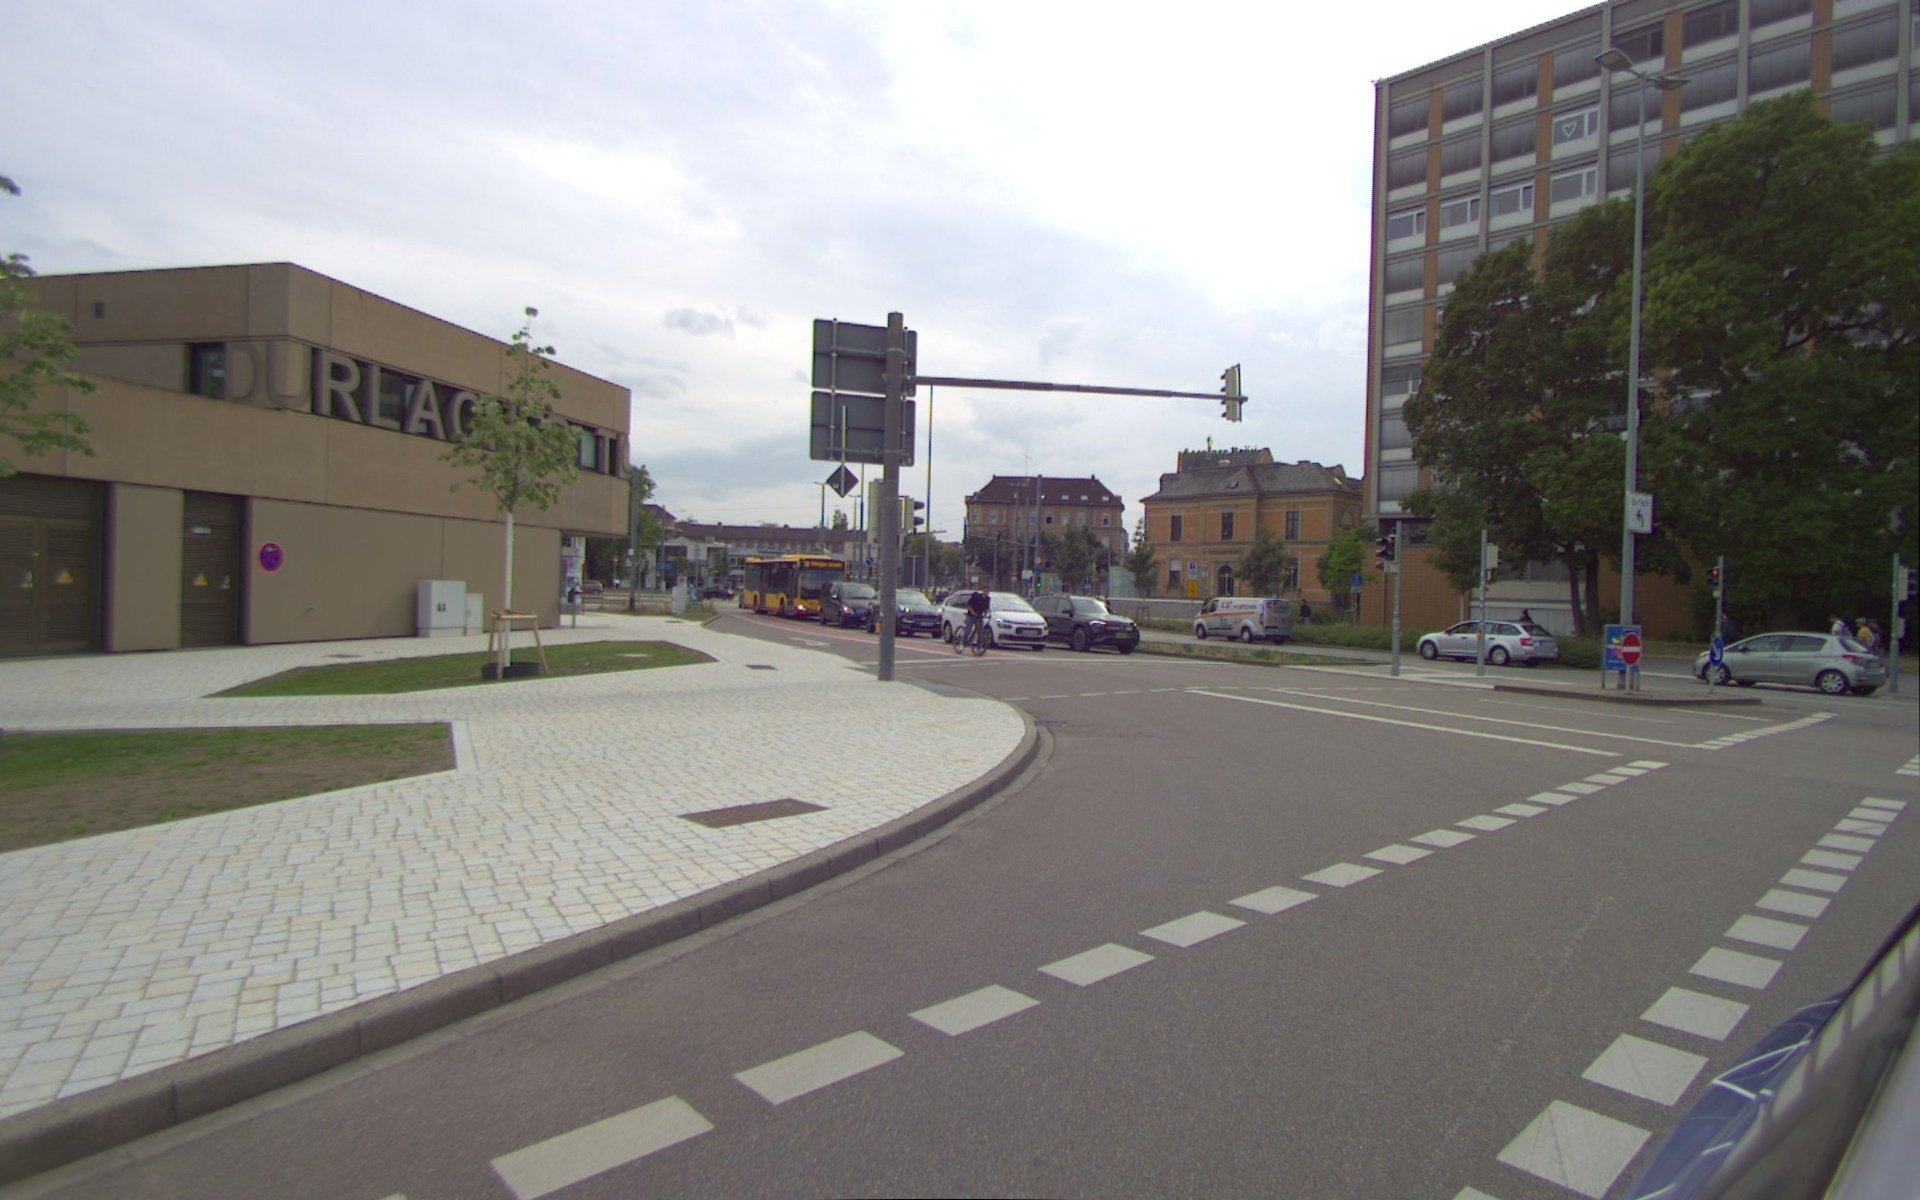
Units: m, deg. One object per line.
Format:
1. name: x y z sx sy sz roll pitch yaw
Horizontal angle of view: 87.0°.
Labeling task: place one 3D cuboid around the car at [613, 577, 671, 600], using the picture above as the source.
1. car: -25.442 -0.949 81.035 3.956 1.594 1.997 4 -1 -41

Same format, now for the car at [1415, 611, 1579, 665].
1. car: 17.512 1.199 33.246 1.787 1.493 4.535 3 -1 -26

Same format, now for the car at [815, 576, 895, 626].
1. car: -4.471 0.024 42.370 1.958 1.923 4.298 3 -1 -25

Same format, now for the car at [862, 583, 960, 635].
1. car: -1.826 0.287 36.323 1.958 1.672 4.298 3 -1 -25

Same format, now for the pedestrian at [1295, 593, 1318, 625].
1. pedestrian: 17.529 0.434 51.232 0.764 1.593 0.814 0 1 -17

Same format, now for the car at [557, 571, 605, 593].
1. car: -35.773 -1.705 95.528 3.919 1.788 2.002 3 -1 -29

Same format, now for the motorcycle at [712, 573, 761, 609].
1. motorcycle: -13.942 -0.568 62.939 1.959 2.039 4.006 3 -1 -27

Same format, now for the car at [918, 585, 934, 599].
1. car: -4.316 -0.948 127.982 1.804 1.635 3.549 3 -1 -4

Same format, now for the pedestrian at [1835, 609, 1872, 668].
1. pedestrian: 26.845 1.148 30.405 0.628 1.732 0.708 2 0 -36

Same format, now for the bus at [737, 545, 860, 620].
1. bus: -8.647 -0.848 52.161 3.092 3.296 12.436 3 -1 -24

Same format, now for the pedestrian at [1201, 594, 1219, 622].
1. pedestrian: 14.875 0.465 60.268 0.764 1.593 0.814 0 1 -13

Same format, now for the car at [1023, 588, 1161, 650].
1. car: 3.883 0.515 30.529 1.958 1.672 4.520 3 -1 -25

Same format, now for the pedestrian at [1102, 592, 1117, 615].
1. pedestrian: 10.239 0.241 69.405 0.764 1.593 0.814 0 1 -13

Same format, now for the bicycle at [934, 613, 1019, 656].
1. bicycle: 0.358 0.801 24.284 0.847 0.888 2.522 3 -1 -29

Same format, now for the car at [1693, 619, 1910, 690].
1. car: 21.208 1.333 25.674 1.637 1.508 3.882 3 -1 -27

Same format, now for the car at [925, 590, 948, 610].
1. car: -2.604 0.018 109.882 1.959 2.039 4.005 3 -1 -7

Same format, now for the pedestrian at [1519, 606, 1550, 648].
1. pedestrian: 22.694 1.065 39.981 0.766 1.593 0.812 0 1 -36

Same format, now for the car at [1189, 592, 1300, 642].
1. car: 12.571 0.712 45.056 1.787 1.984 5.214 3 -1 -24

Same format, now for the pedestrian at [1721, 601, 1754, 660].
1. pedestrian: 25.430 0.982 33.104 0.628 1.876 0.708 1 0 -36

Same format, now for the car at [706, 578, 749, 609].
1. car: -16.081 -0.450 69.745 1.958 1.923 4.298 3 -1 -25

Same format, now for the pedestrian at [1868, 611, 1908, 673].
1. pedestrian: 26.608 1.208 29.012 0.628 1.733 0.708 4 -1 -36

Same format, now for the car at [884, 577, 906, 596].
1. car: -7.355 -1.538 114.566 1.959 1.948 4.006 3 -1 -9

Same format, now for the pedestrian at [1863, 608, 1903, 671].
1. pedestrian: 26.057 1.113 28.583 0.628 1.732 0.708 1 0 -36

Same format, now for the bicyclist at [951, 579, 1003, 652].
1. bicyclist: 0.409 0.371 24.256 0.852 1.690 0.882 3 -1 -30

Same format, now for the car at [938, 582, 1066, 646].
1. car: 1.142 0.367 29.830 1.958 1.672 4.298 3 -1 -25
